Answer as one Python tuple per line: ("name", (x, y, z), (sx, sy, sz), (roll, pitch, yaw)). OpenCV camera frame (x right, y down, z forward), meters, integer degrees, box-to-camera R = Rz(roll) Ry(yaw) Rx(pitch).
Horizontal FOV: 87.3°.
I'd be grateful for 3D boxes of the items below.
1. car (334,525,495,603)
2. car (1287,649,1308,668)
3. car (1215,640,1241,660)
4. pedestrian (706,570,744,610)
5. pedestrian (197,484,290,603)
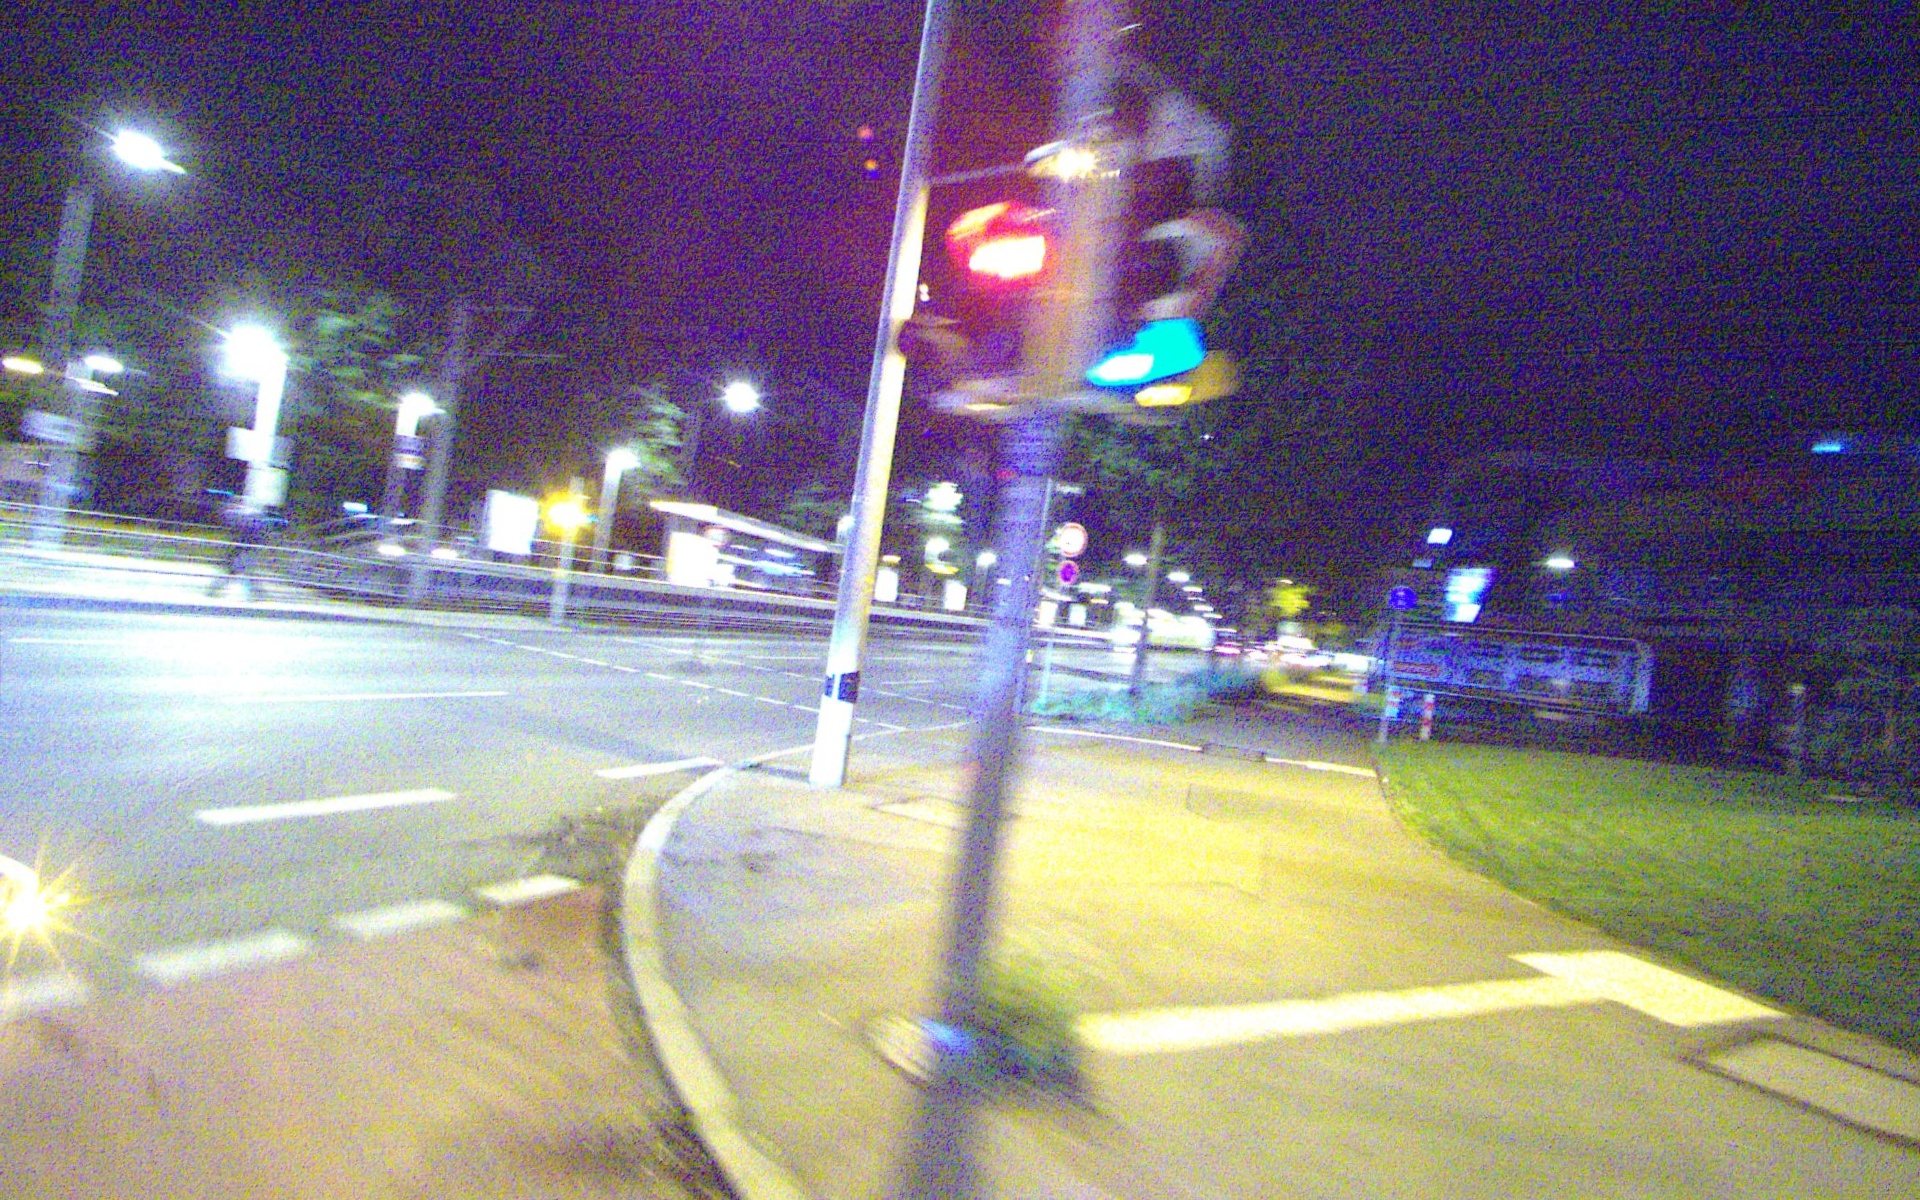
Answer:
("car", (-17.177, -1.074, 31.872), (1.964, 2.039, 3.995), (6, 1, 25))
("car", (37.362, 6.498, 111.304), (1.777, 1.684, 3.997), (10, 2, 21))
("car", (27.923, 5.176, 104.653), (1.830, 1.679, 4.460), (9, 0, 23))
("pedestrian", (-9.862, -0.440, 42.213), (1.133, 1.518, 1.069), (7, 0, -30))
("pedestrian", (-11.458, -0.886, 16.092), (0.818, 1.767, 0.756), (8, 3, 19))
